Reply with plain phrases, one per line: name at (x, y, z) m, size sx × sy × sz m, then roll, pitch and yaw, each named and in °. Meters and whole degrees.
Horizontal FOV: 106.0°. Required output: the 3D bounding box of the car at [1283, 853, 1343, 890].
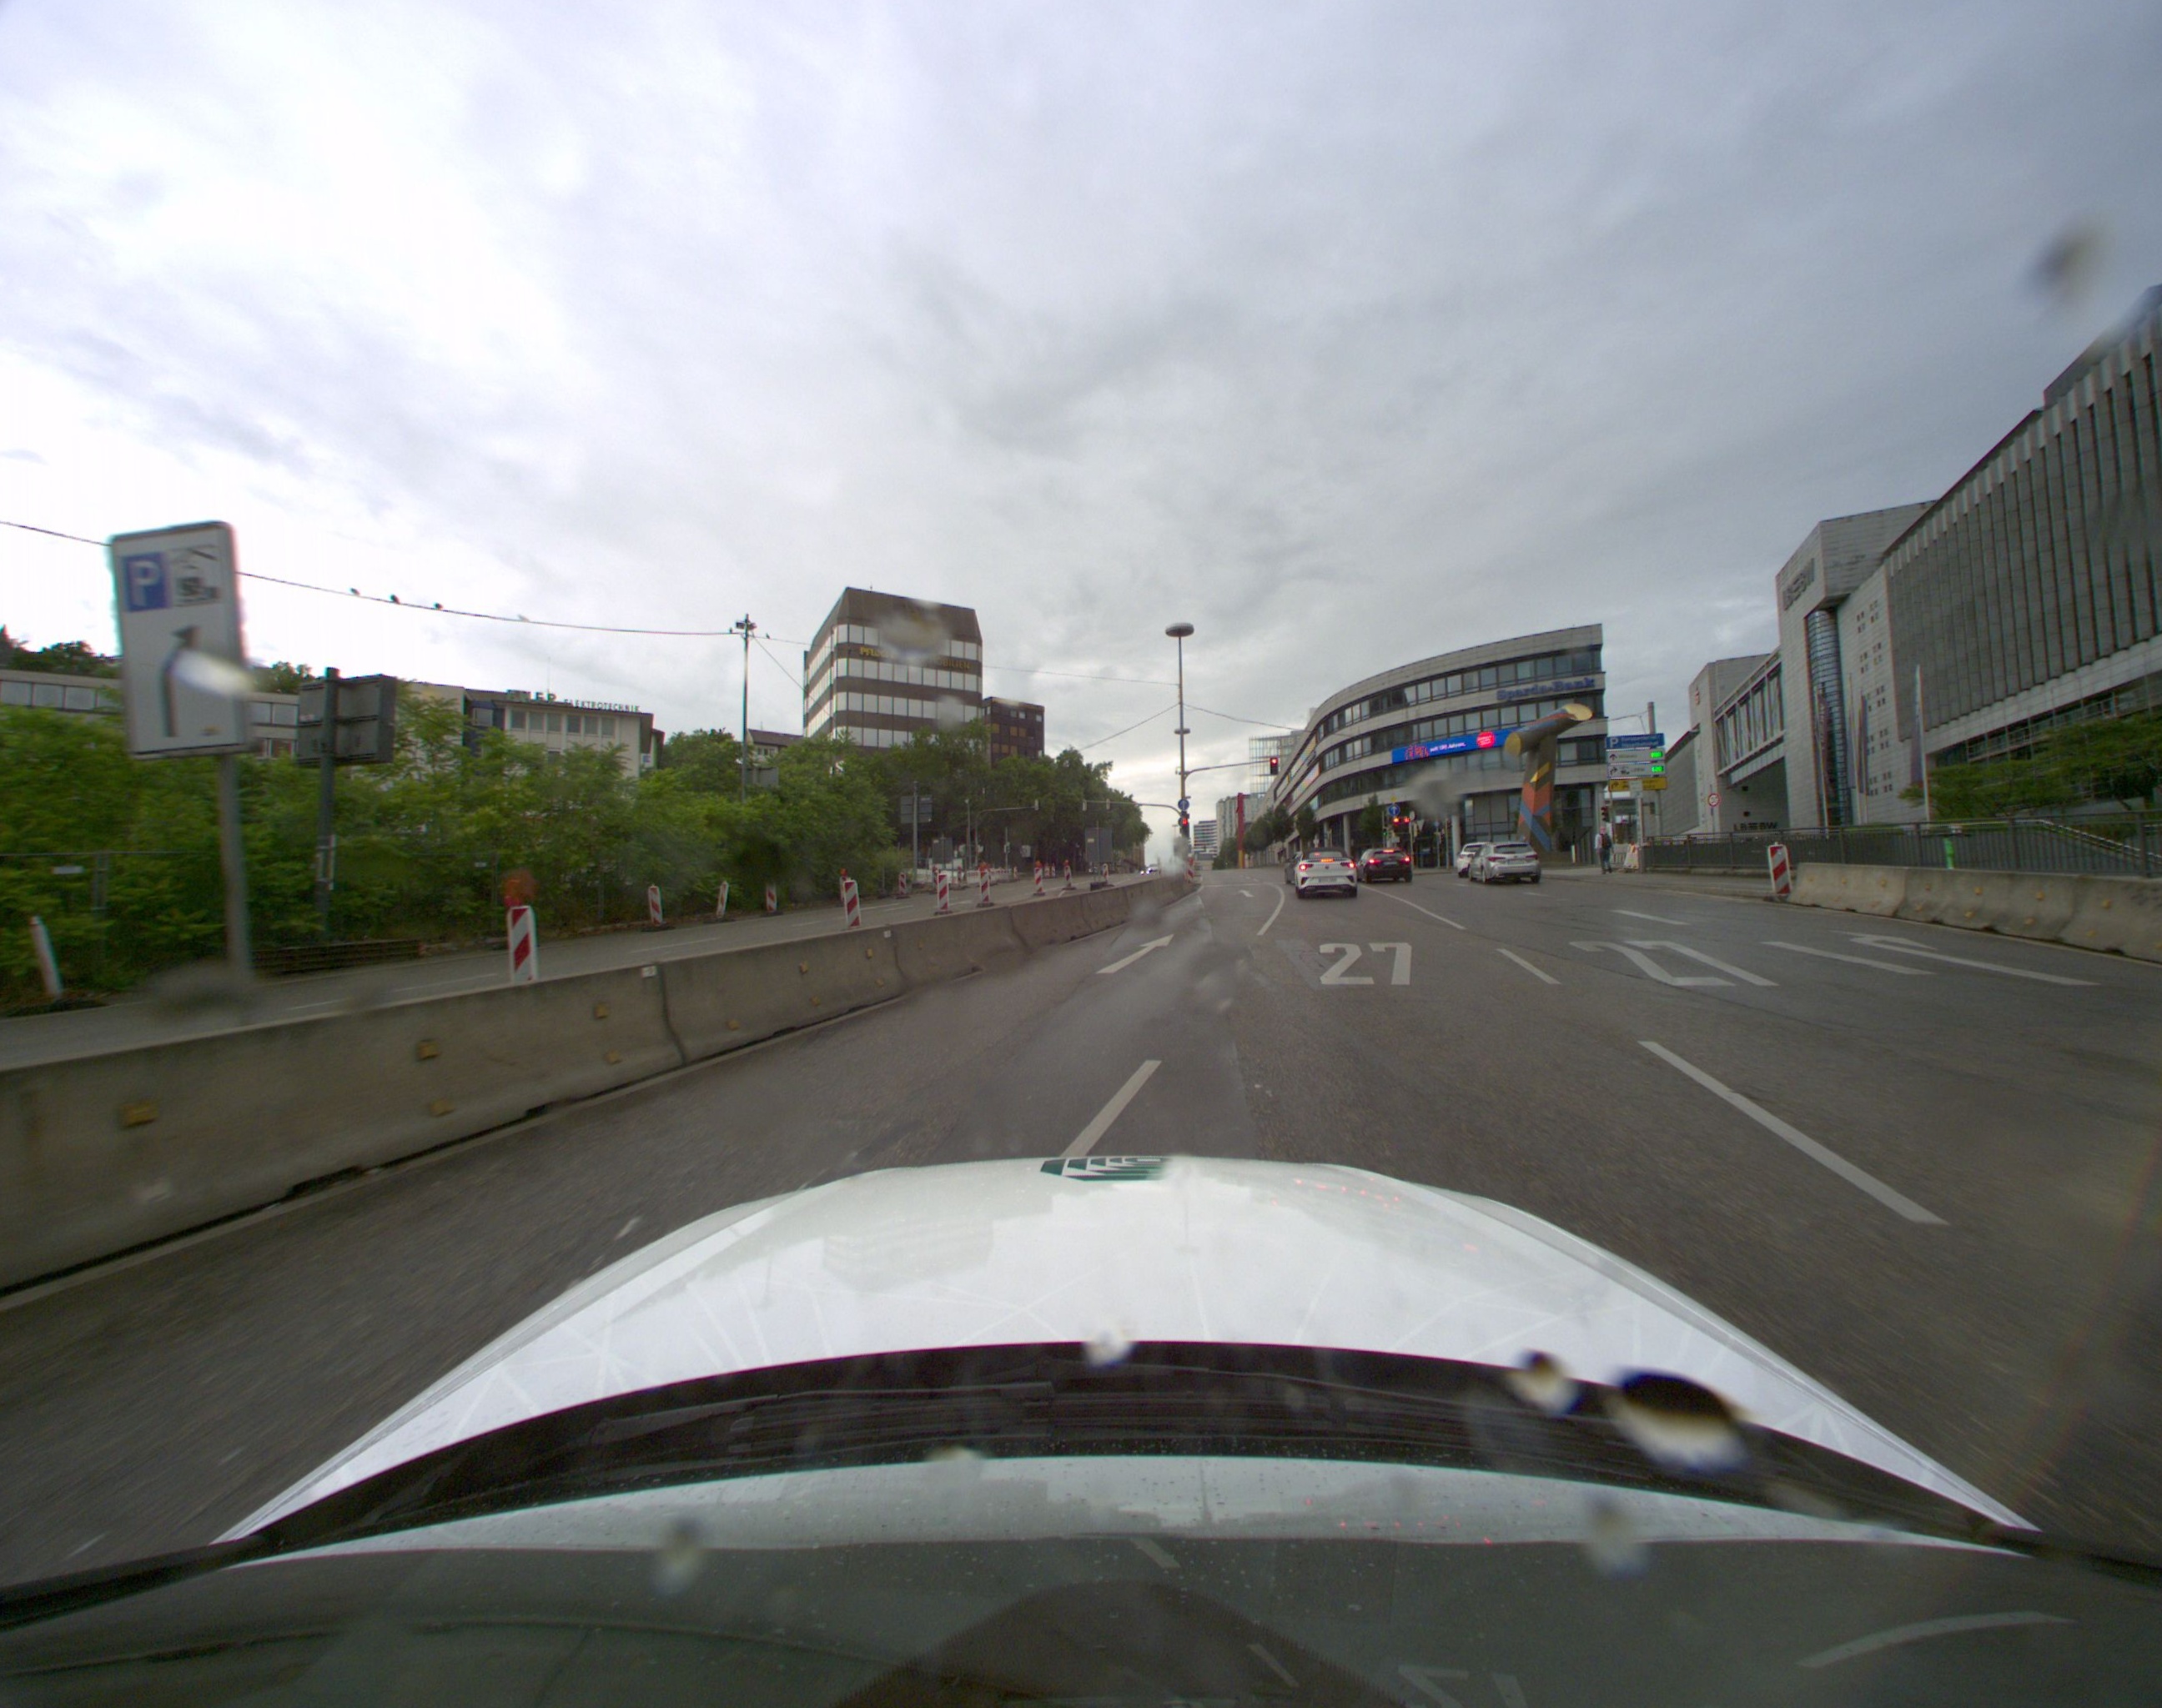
car at (9.756, 0.731, 34.551) m, size 1.731 × 1.443 × 4.006 m, roll -2°, pitch -1°, yaw 6°

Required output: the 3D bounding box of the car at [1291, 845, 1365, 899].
car at (7.823, 0.554, 26.140) m, size 1.950 × 1.549 × 4.234 m, roll -2°, pitch -1°, yaw 13°

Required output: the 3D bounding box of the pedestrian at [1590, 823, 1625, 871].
pedestrian at (19.571, -0.241, 30.274) m, size 0.725 × 1.711 × 0.845 m, roll -2°, pitch -3°, yaw 8°

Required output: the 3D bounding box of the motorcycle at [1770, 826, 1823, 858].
motorcycle at (31.776, -0.528, 36.182) m, size 1.718 × 1.354 × 0.606 m, roll -3°, pitch -1°, yaw 1°

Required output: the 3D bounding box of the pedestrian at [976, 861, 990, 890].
pedestrian at (-6.783, 1.505, 56.457) m, size 0.756 × 1.923 × 0.744 m, roll -2°, pitch -3°, yaw 11°

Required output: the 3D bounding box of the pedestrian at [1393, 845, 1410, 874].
pedestrian at (21.657, 0.366, 55.087) m, size 0.832 × 1.905 × 0.866 m, roll -3°, pitch -4°, yaw 34°

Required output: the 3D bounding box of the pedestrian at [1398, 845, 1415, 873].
pedestrian at (22.372, 0.332, 55.988) m, size 0.832 × 1.905 × 0.736 m, roll -3°, pitch -2°, yaw 34°

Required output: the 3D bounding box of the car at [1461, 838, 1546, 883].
car at (14.997, 0.276, 29.176) m, size 1.688 × 1.451 × 4.633 m, roll -2°, pitch -2°, yaw 15°

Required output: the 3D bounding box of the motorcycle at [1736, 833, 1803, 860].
motorcycle at (32.813, -0.352, 38.815) m, size 2.555 × 1.081 × 0.635 m, roll -5°, pitch -1°, yaw 1°

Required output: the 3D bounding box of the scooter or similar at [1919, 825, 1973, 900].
scooter or similar at (13.931, 0.141, 13.122) m, size 0.346 × 1.162 × 0.576 m, roll -2°, pitch -2°, yaw 23°

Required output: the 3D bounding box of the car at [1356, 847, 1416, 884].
car at (12.582, 0.509, 33.788) m, size 1.743 × 1.407 × 4.241 m, roll 0°, pitch -2°, yaw 12°

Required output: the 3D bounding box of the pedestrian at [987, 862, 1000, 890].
pedestrian at (-6.061, 1.504, 56.295) m, size 0.668 × 1.902 × 0.778 m, roll -2°, pitch -3°, yaw 11°

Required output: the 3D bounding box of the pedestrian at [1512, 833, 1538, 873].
pedestrian at (23.604, -0.051, 43.319) m, size 0.853 × 2.099 × 0.900 m, roll 0°, pitch -1°, yaw -15°

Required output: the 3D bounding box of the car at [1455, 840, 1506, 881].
car at (17.538, 0.276, 35.668) m, size 1.754 × 1.634 × 4.609 m, roll -2°, pitch -1°, yaw 29°

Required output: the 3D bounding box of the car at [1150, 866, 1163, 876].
car at (12.167, 2.699, 130.670) m, size 1.751 × 1.461 × 4.369 m, roll -3°, pitch -1°, yaw 8°
